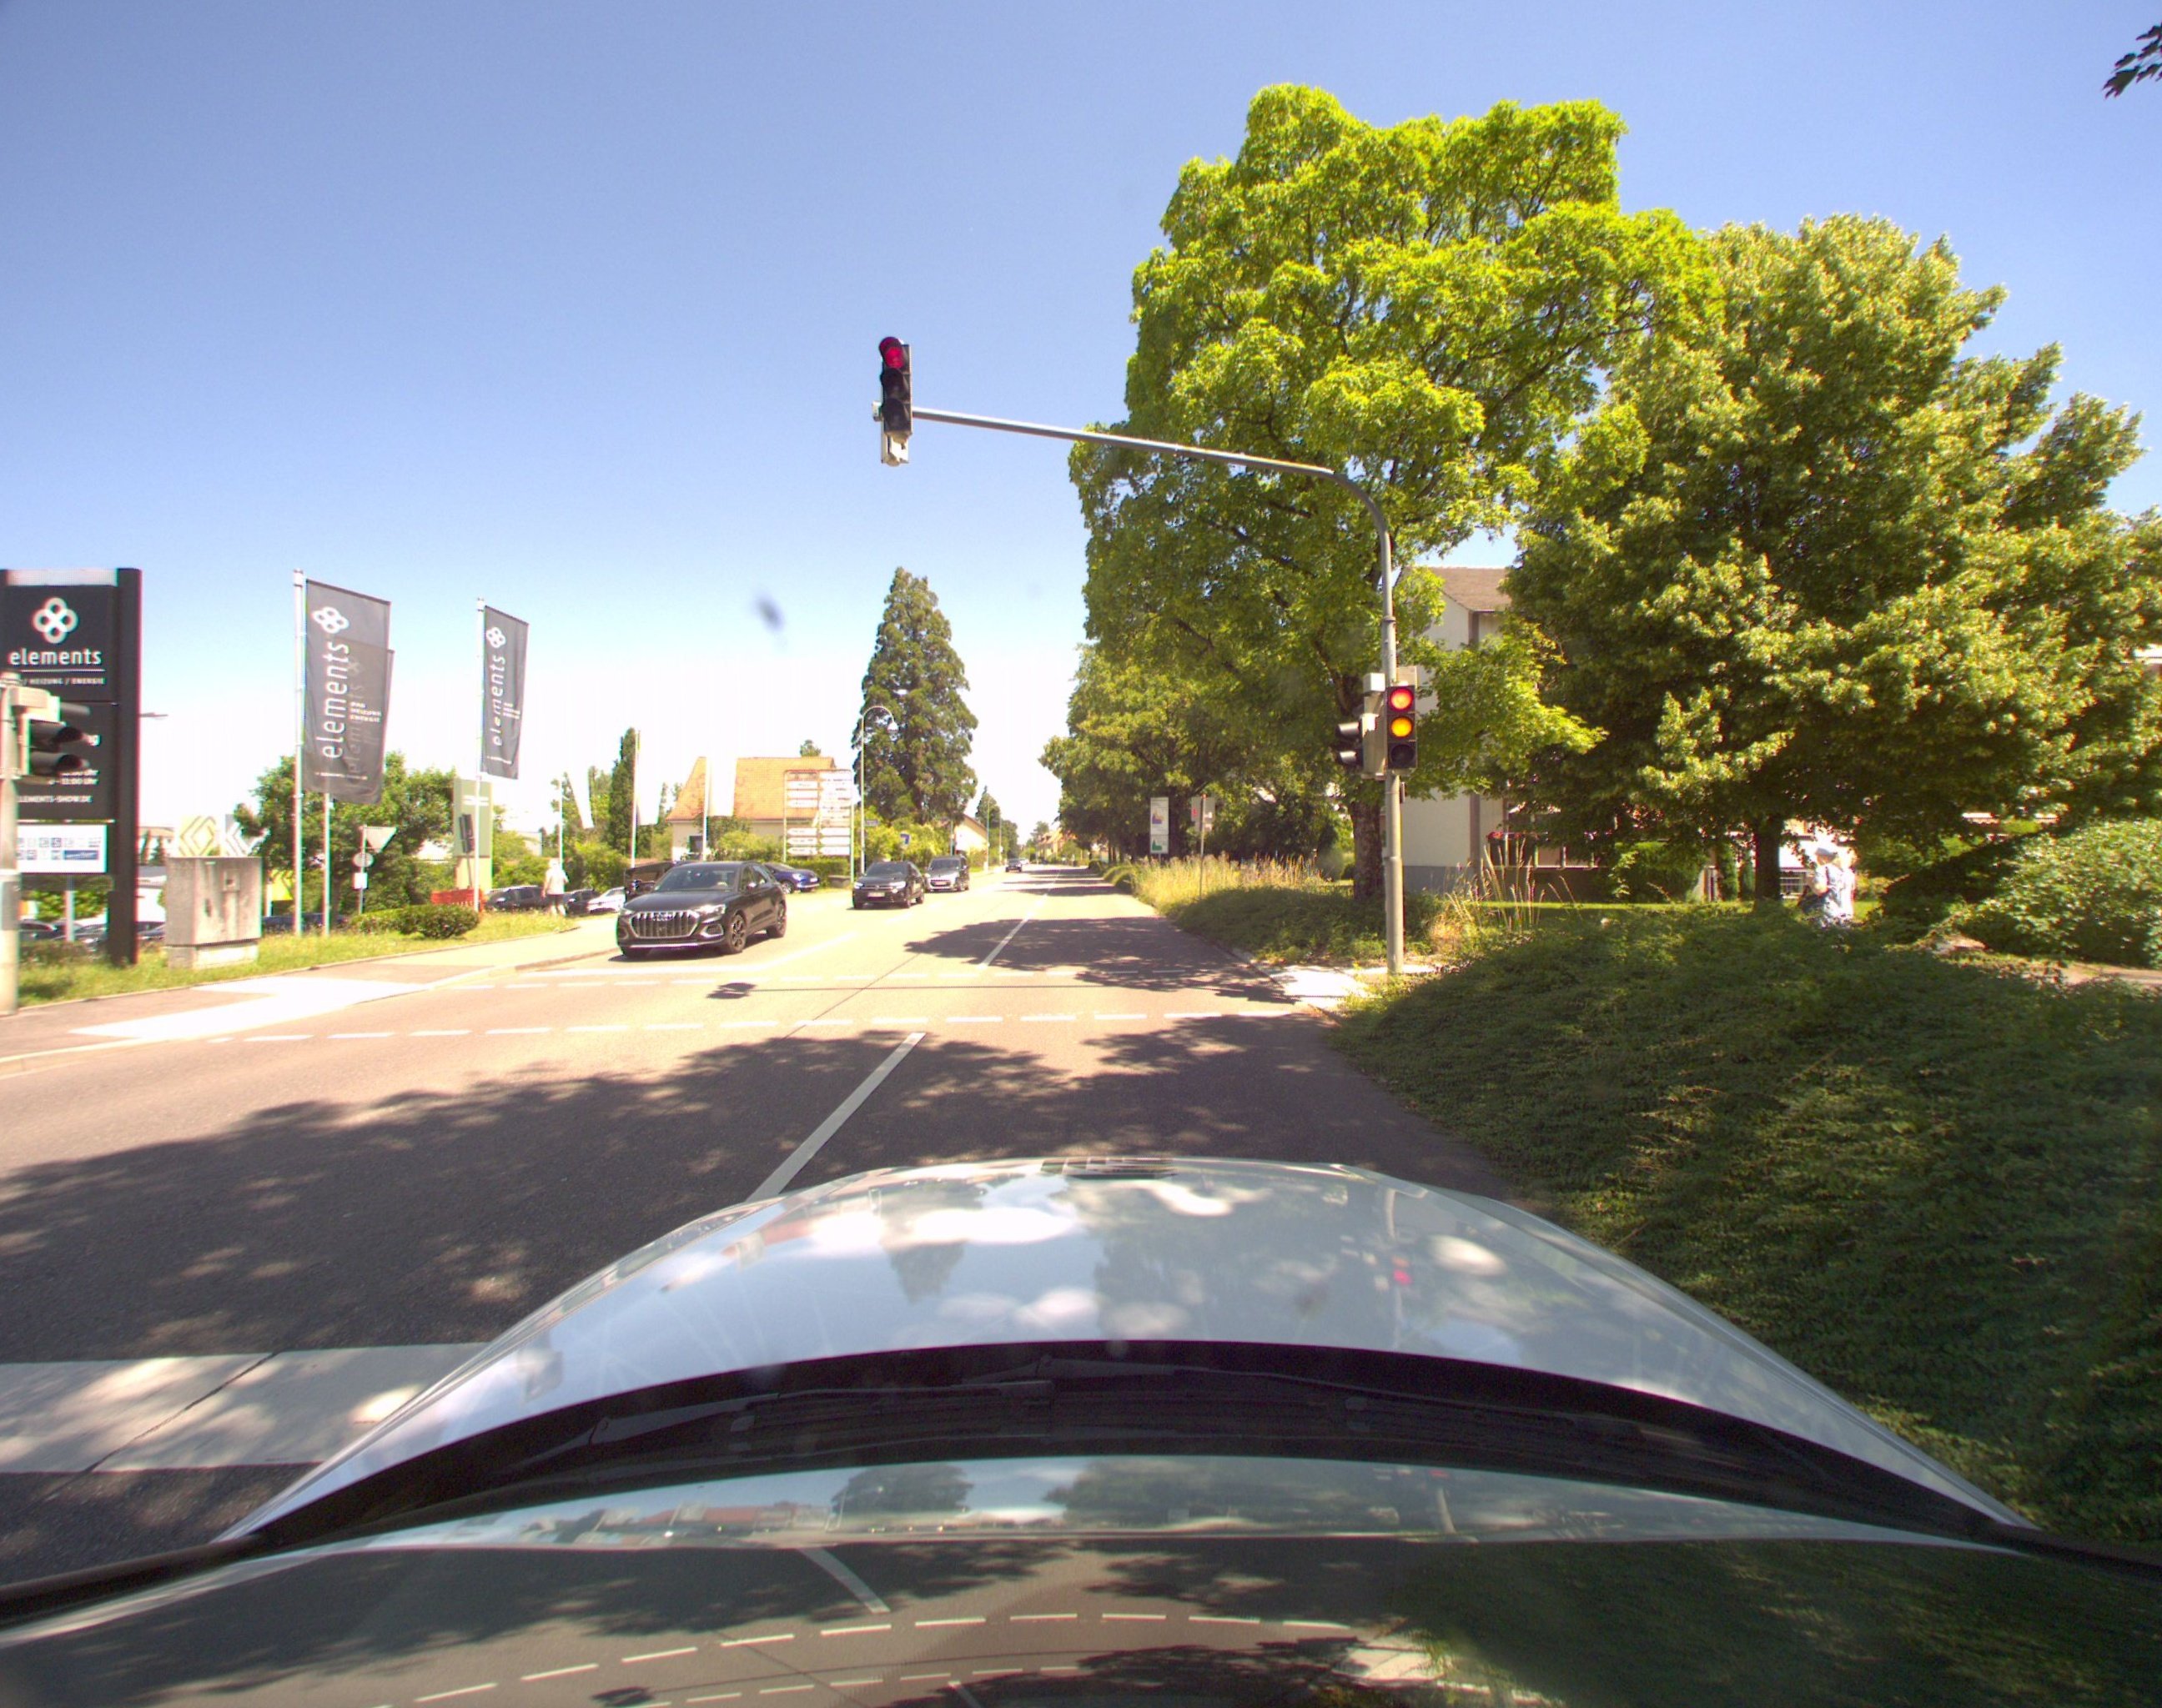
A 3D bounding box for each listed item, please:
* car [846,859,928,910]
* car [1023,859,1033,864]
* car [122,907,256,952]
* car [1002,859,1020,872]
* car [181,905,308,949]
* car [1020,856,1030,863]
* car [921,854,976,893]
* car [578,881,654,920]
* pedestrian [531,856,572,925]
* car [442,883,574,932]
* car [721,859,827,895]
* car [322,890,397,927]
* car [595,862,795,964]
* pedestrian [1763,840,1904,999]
[{"bbox_3d":[-6.292,0.948,26.843,1.864,1.507,4.049,-1,0,-2],"label":"car"},{"bbox_3d":[-15.568,2.315,239.714,1.948,1.359,4.438,-1,0,-16],"label":"car"},{"bbox_3d":[-36.958,3.085,33.906,1.754,1.486,3.983,-1,0,-12],"label":"car"},{"bbox_3d":[-8.253,1.367,96.861,1.788,1.536,4.313,-1,0,-1],"label":"car"},{"bbox_3d":[-34.338,2.954,33.586,1.647,1.415,3.856,-1,0,-8],"label":"car"},{"bbox_3d":[-12.653,1.262,184.112,1.907,1.689,4.123,0,0,-1],"label":"car"},{"bbox_3d":[-6.418,0.910,39.787,1.804,1.762,4.571,-1,0,1],"label":"car"},{"bbox_3d":[-23.396,2.287,41.152,1.806,1.722,4.081,0,0,-6],"label":"car"},{"bbox_3d":[-13.739,0.936,21.136,0.538,1.761,0.706,-1,-1,28],"label":"pedestrian"},{"bbox_3d":[-23.008,2.095,32.910,1.795,1.722,4.106,-1,0,16],"label":"car"},{"bbox_3d":[-13.792,1.030,36.685,4.109,1.504,1.782,-1,0,10],"label":"car"},{"bbox_3d":[-39.336,2.944,44.518,1.816,1.722,4.059,0,0,-22],"label":"car"},{"bbox_3d":[-6.874,0.943,15.063,1.923,1.555,4.295,-1,0,-5],"label":"car"},{"bbox_3d":[8.181,0.679,8.893,0.717,1.633,0.849,-1,-1,-7],"label":"pedestrian"}]
